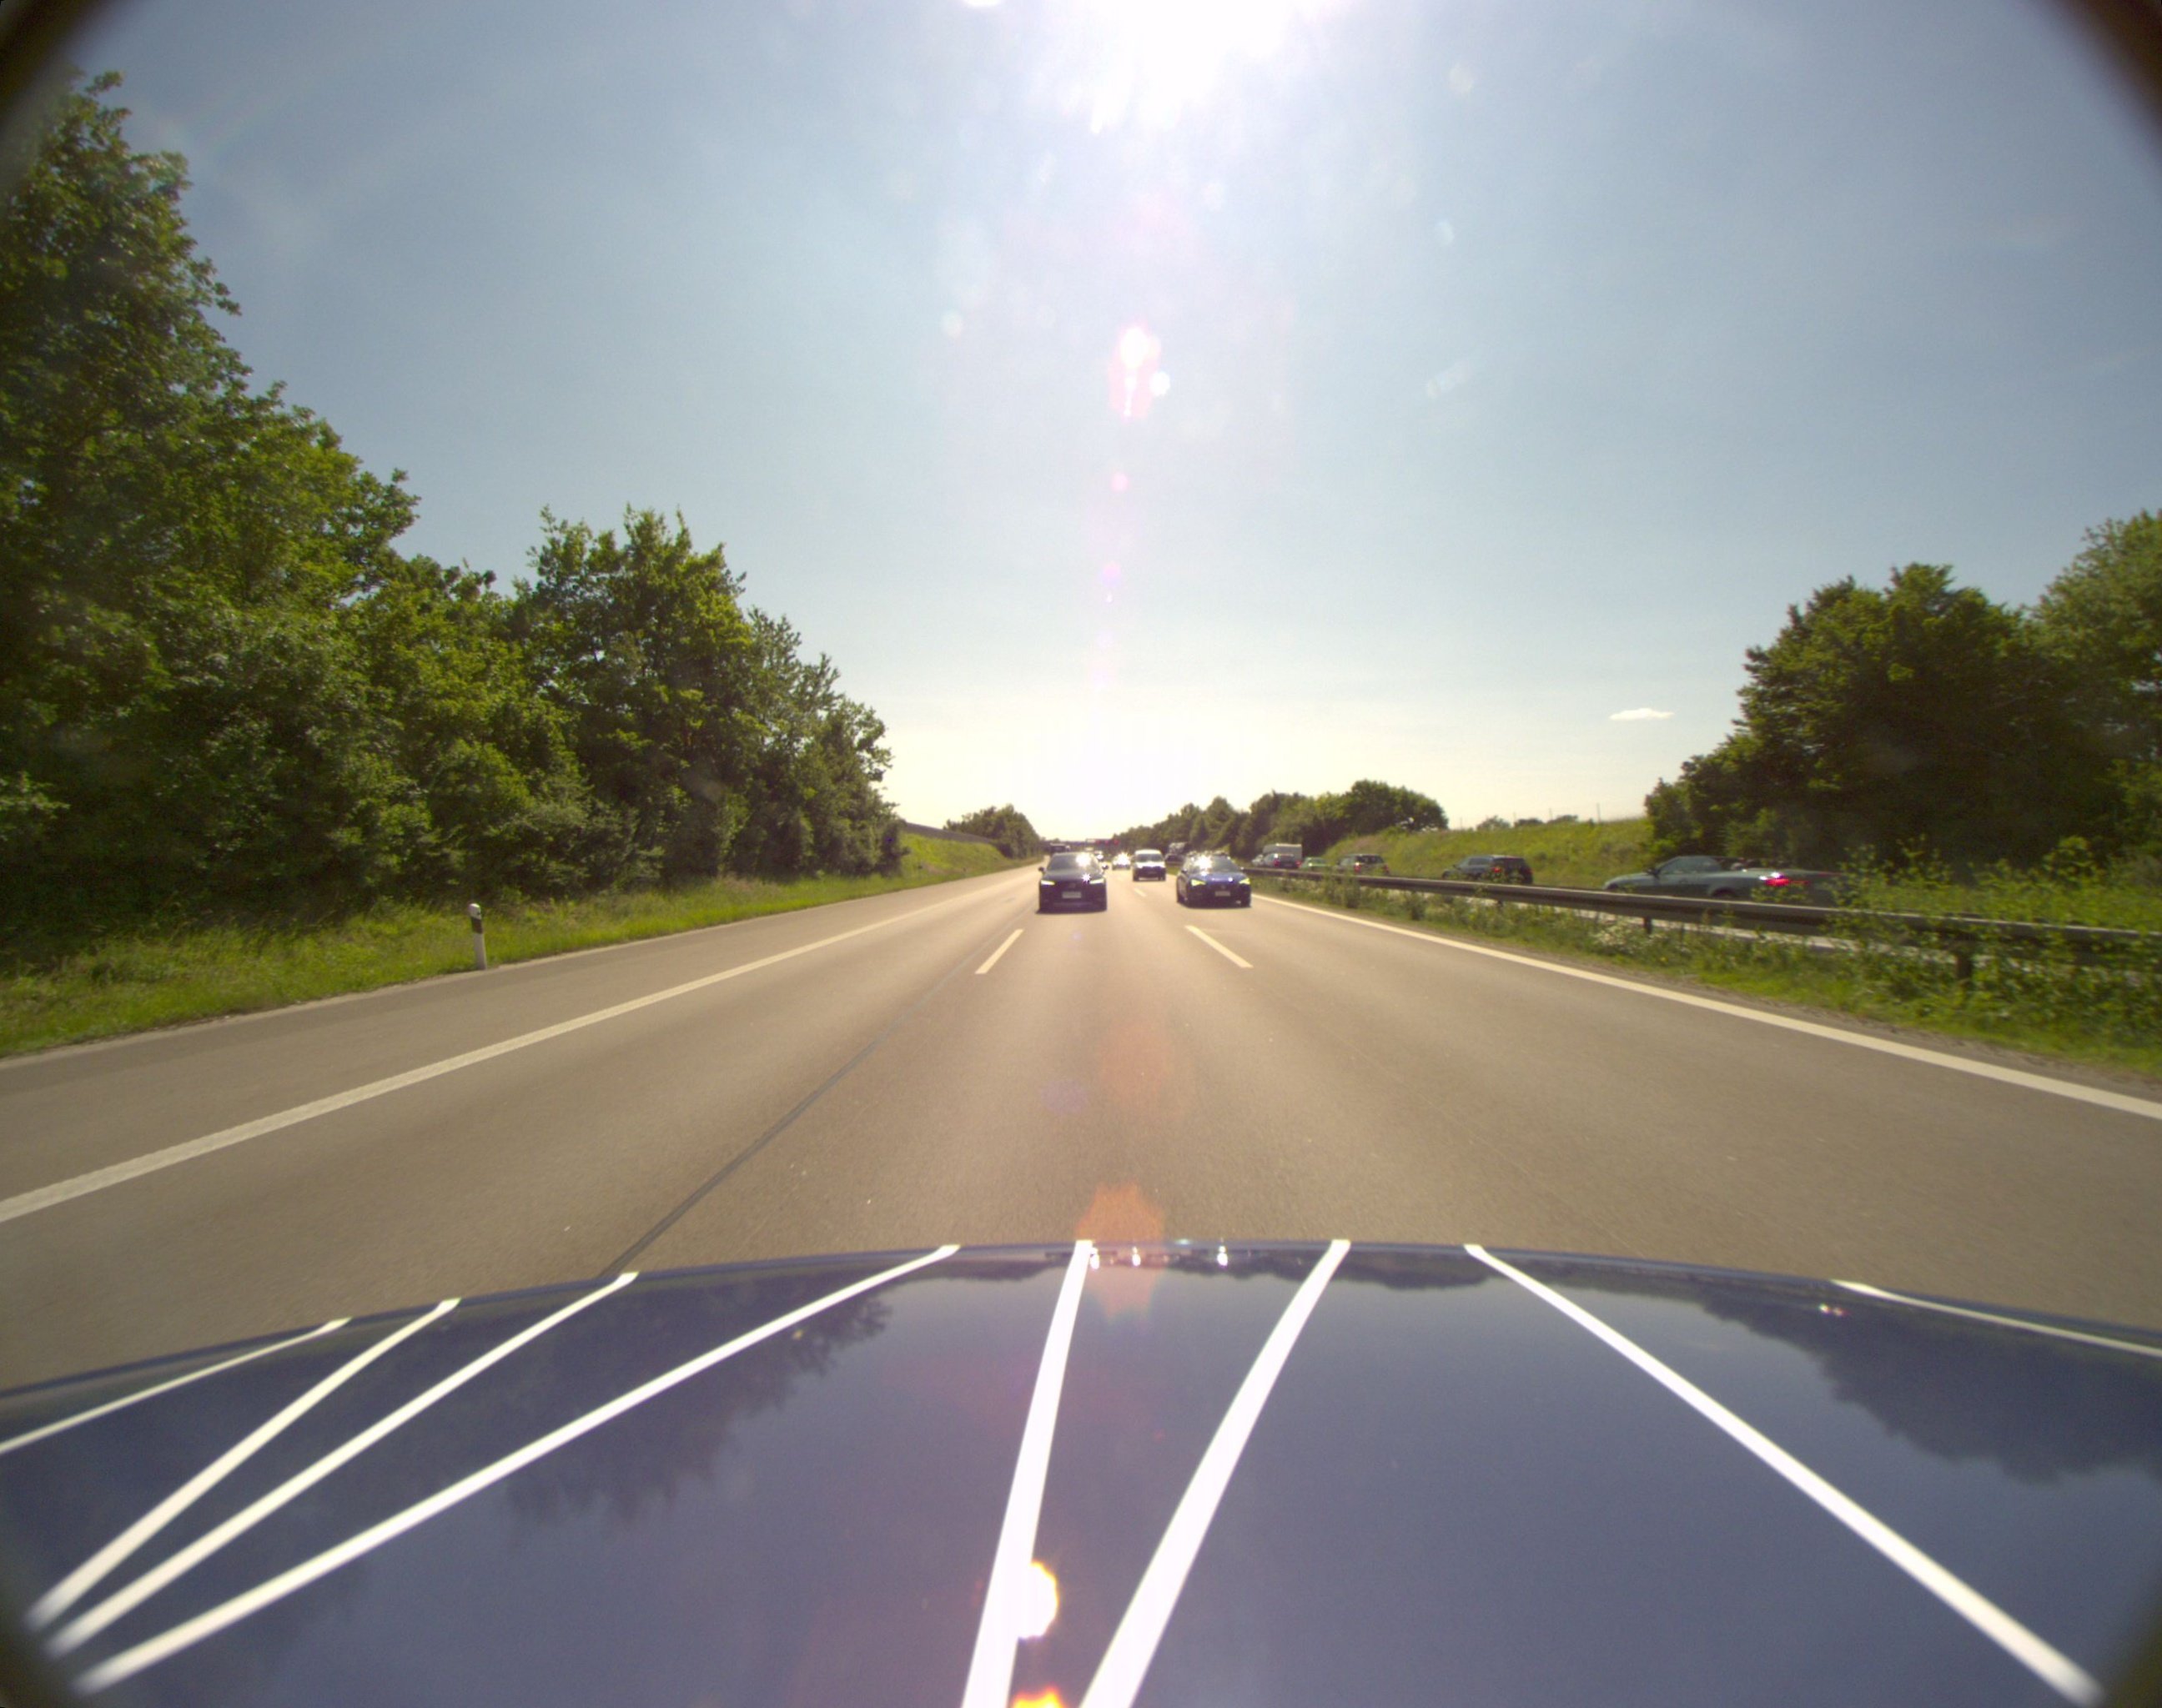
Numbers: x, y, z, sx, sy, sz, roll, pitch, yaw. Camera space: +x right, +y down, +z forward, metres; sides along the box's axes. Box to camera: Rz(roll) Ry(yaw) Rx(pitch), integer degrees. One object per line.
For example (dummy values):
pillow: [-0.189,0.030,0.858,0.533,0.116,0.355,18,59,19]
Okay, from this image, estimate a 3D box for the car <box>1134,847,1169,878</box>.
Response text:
car: [4.096,0.469,44.866,1.869,1.713,3.980,0,1,2]

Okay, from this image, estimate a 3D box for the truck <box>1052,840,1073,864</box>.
truck: [-2.784,-0.335,113.126,2.966,3.388,8.044,0,1,-3]

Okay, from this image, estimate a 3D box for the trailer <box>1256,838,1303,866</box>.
trailer: [20.510,-0.190,78.919,2.738,2.671,8.629,-1,0,1]

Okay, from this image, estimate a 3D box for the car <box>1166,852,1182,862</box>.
car: [12.531,0.415,102.564,1.720,1.382,4.000,0,0,0]

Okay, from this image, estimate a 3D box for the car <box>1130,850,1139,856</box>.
car: [15.218,-0.334,216.785,1.999,1.501,5.207,0,0,-1]

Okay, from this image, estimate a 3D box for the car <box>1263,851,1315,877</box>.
car: [12.773,0.559,46.918,1.917,1.508,4.616,0,0,0]

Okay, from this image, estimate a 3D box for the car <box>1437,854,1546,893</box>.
car: [16.701,0.747,31.257,1.998,1.388,4.658,-1,1,1]

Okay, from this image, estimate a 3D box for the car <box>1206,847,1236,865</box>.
car: [12.705,0.174,69.207,1.917,1.508,4.616,0,0,0]

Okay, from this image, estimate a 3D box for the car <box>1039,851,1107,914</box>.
car: [-0.190,0.766,22.535,1.812,1.648,4.000,-1,0,1]

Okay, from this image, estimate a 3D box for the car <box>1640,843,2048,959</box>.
car: [12.498,0.649,13.135,1.998,1.595,5.089,-1,0,1]

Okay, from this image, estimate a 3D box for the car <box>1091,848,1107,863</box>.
car: [3.792,0.239,163.715,3.242,3.094,7.603,0,0,0]

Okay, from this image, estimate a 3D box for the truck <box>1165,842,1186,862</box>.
truck: [19.491,-0.440,157.712,3.249,4.026,7.393,0,0,-1]

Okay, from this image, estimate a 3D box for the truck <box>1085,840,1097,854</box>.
truck: [2.658,-1.781,205.781,3.242,3.684,10.934,0,0,0]

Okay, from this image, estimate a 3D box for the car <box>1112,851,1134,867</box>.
car: [4.322,0.514,78.464,1.999,1.540,3.998,-1,1,-1]

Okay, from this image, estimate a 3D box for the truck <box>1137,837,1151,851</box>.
truck: [18.553,-2.823,223.760,2.679,4.055,13.957,1,0,-1]

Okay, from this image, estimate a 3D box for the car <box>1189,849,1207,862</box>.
car: [16.903,0.182,109.909,1.819,1.798,4.381,0,0,0]

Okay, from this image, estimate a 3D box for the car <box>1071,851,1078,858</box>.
car: [-1.739,0.161,214.190,1.999,1.765,4.236,0,0,0]

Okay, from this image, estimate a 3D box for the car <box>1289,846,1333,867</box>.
car: [16.318,0.194,54.111,1.748,1.419,4.803,0,0,1]

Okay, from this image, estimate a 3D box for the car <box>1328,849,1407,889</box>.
car: [12.561,0.600,33.622,1.854,1.565,4.421,-1,1,0]

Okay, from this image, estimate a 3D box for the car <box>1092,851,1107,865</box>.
car: [2.248,0.435,92.897,1.743,1.630,3.844,0,1,2]

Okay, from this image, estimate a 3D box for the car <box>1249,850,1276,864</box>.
car: [20.407,0.309,85.566,1.851,1.597,4.810,-1,0,0]

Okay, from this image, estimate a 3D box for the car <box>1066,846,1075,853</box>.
car: [-2.529,-1.067,183.825,1.998,1.856,4.228,0,0,1]

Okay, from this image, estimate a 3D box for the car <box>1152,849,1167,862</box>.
car: [13.152,0.274,127.245,1.998,2.002,4.912,-1,1,0]

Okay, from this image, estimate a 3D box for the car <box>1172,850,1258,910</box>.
car: [3.939,0.703,22.984,1.904,1.616,4.240,-1,0,1]

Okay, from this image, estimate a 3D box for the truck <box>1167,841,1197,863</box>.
truck: [19.702,-0.403,149.664,3.220,4.026,16.671,0,0,-1]
